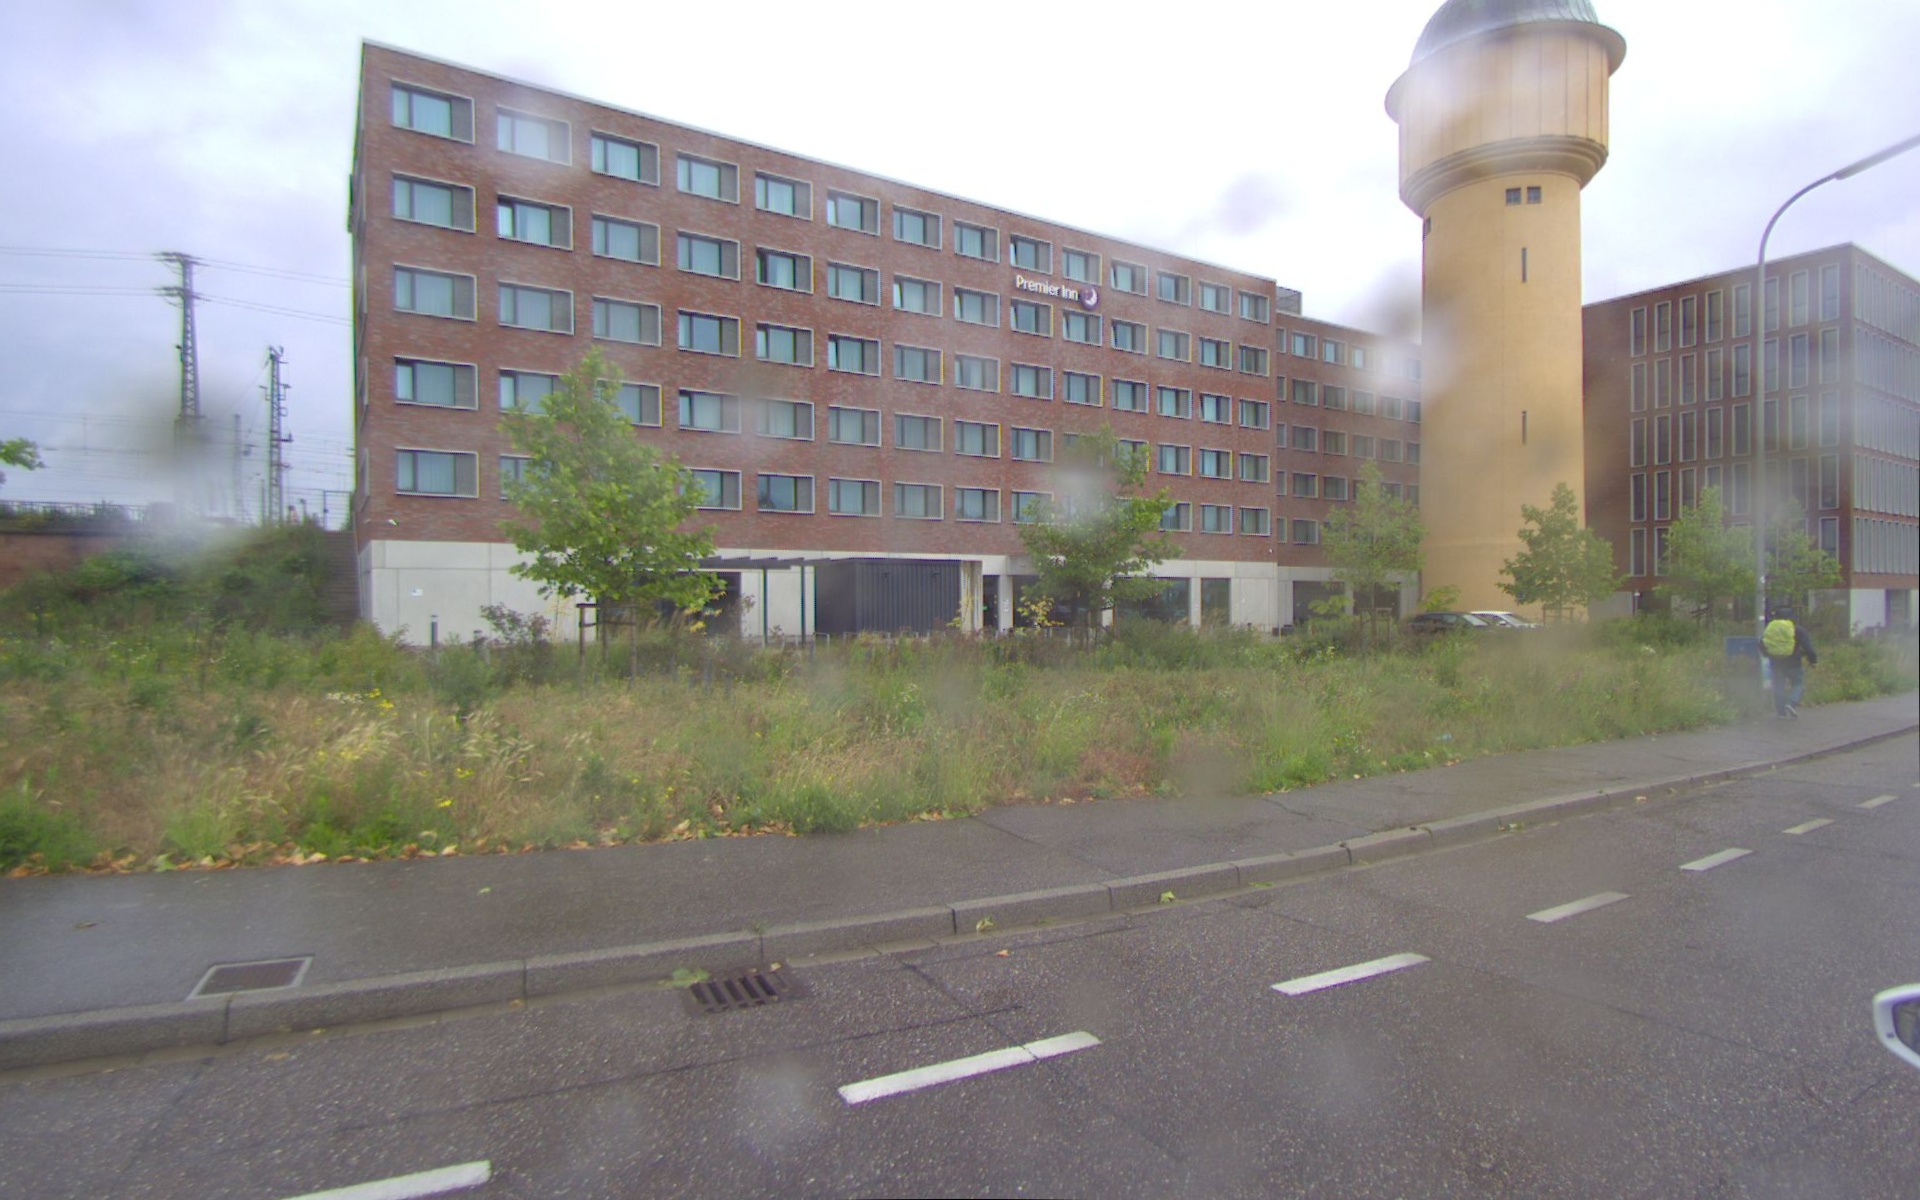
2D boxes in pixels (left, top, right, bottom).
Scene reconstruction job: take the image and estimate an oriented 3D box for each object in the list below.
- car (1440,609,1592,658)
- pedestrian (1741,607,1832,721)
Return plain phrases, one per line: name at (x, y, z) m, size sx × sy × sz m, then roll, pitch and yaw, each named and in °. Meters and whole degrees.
car at (20.235, 1.179, 36.709) m, size 1.982 × 1.663 × 4.487 m, roll 1°, pitch -1°, yaw -38°
pedestrian at (13.191, 0.995, 16.040) m, size 1.016 × 1.741 × 0.902 m, roll 1°, pitch -1°, yaw -36°
